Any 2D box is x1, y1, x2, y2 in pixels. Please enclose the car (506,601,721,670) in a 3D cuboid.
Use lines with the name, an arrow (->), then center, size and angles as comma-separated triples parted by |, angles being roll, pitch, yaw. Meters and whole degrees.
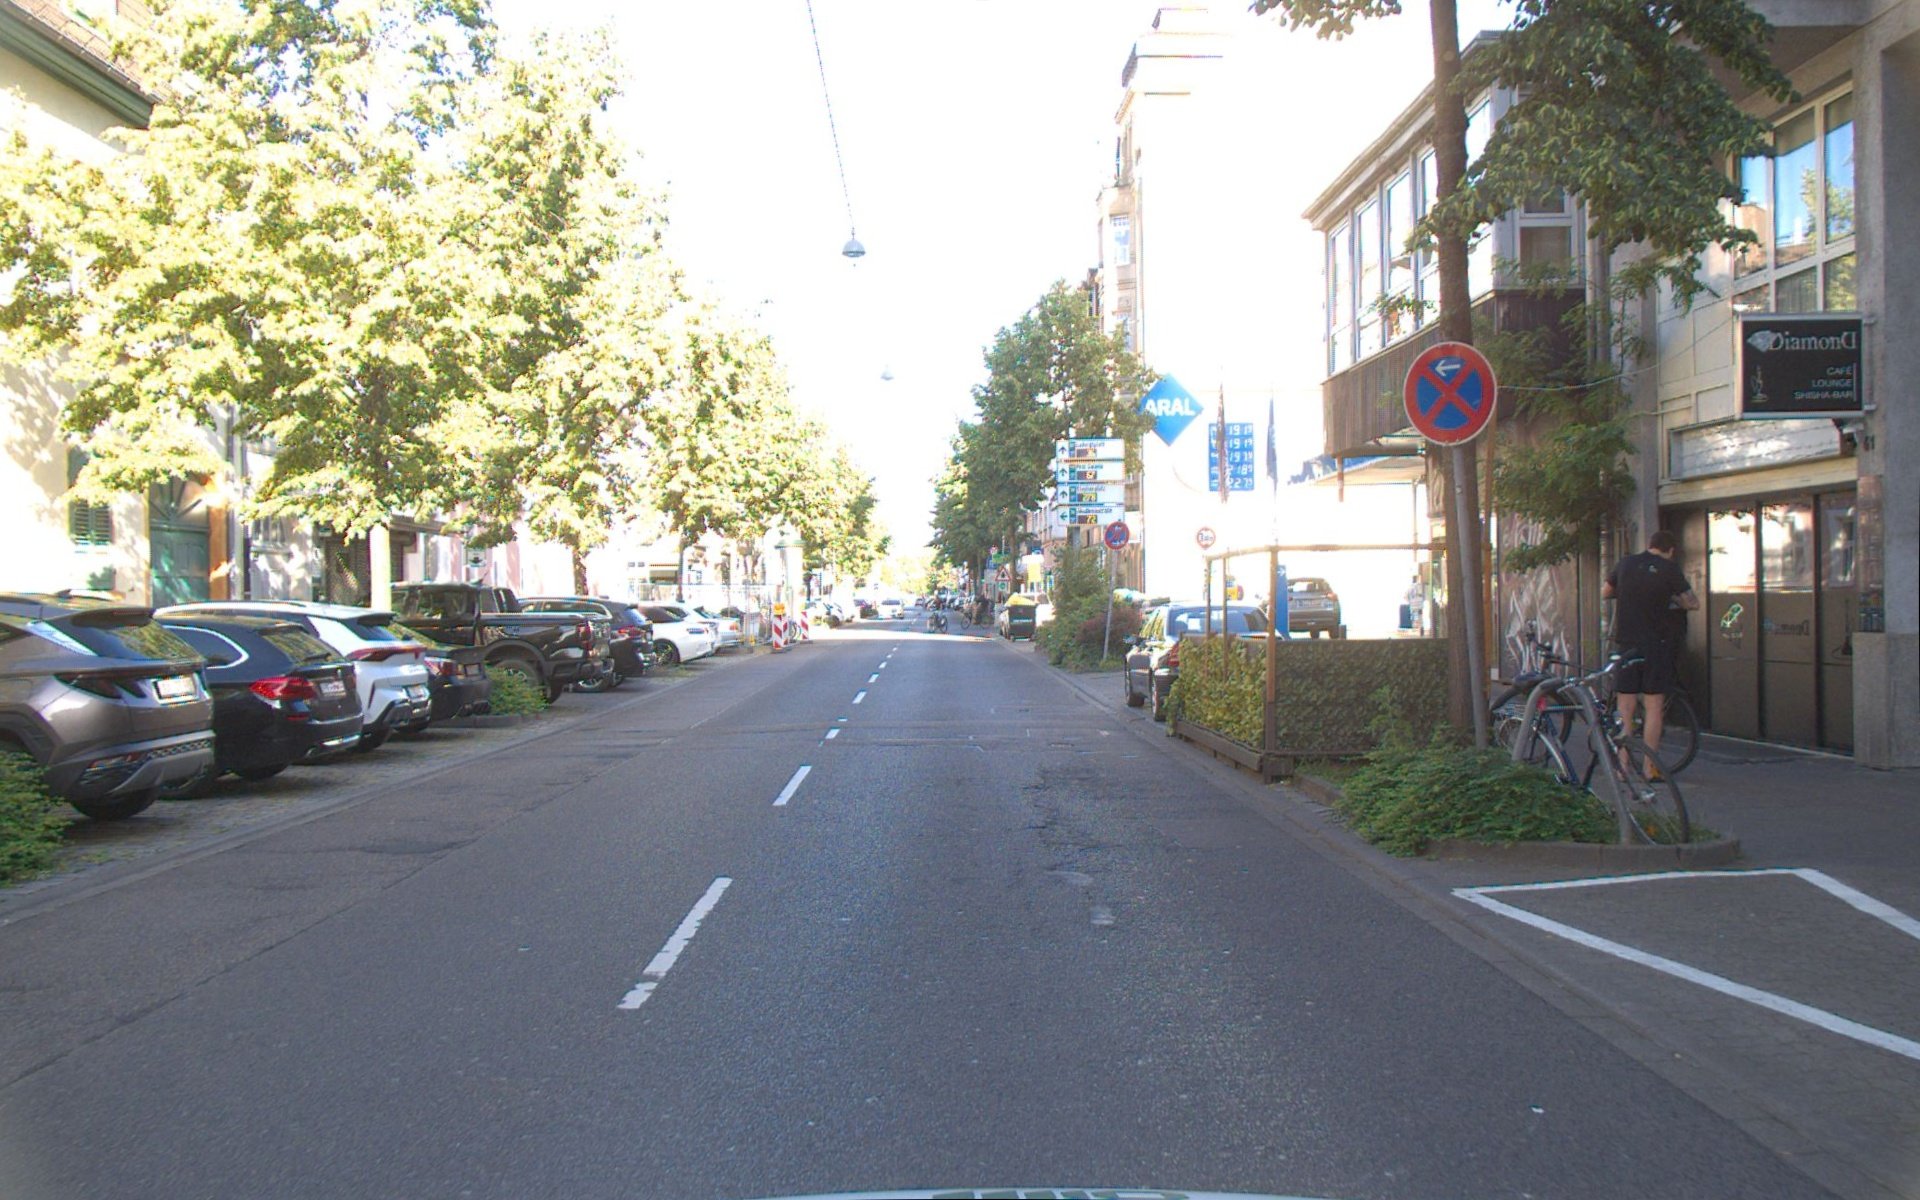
car -> -7.841, 0.787, 37.794 | 4.588, 1.491, 1.806 | 0, 0, -4

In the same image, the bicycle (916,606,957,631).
bicycle -> -1.048, 0.834, 74.297 | 0.755, 1.077, 1.945 | -1, 0, 41

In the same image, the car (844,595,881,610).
car -> -10.358, 0.278, 175.924 | 3.907, 1.526, 1.999 | -1, 0, -2

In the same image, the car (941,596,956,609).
car -> -1.503, 0.320, 214.209 | 1.953, 1.534, 3.998 | 0, -1, -2

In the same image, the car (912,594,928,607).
car -> -4.702, 0.077, 194.375 | 1.786, 1.415, 4.299 | -3, 0, -2

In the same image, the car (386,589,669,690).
car -> -7.704, 0.687, 29.745 | 4.584, 1.723, 1.808 | 0, 0, 0

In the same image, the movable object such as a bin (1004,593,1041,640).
movable object such as a bin -> 2.181, 0.561, 57.518 | 1.118, 1.589, 1.460 | -2, 0, 7

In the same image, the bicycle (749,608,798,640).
bicycle -> -7.071, 0.913, 62.736 | 1.820, 1.191, 0.599 | 0, 0, -9

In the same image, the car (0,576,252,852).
car -> -7.569, 0.735, 11.394 | 4.584, 1.742, 1.808 | 0, 0, 0

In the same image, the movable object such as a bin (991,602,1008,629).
movable object such as a bin -> 1.818, 0.705, 75.465 | 0.691, 1.244, 0.680 | -1, 0, -3

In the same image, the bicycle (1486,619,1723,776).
bicycle -> 5.186, 0.750, 13.377 | 0.676, 1.169, 1.658 | -1, 0, -43

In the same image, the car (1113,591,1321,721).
car -> 3.229, 0.647, 21.740 | 1.862, 1.436, 4.645 | -3, 0, -1

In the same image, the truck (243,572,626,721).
truck -> -7.654, 0.649, 24.468 | 4.982, 1.972, 1.999 | -2, 0, -2

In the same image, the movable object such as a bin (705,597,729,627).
movable object such as a bin -> -12.786, 0.615, 87.006 | 1.117, 1.511, 1.235 | -1, 0, -3

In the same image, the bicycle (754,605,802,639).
bicycle -> -7.084, 0.852, 64.423 | 1.820, 1.274, 0.599 | 0, 0, -9

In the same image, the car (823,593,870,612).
car -> -9.682, 0.231, 141.746 | 3.907, 1.526, 1.999 | -1, 0, -2

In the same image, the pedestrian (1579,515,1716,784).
pedestrian -> 5.246, 0.365, 12.627 | 0.906, 1.969, 0.761 | -1, 0, 24

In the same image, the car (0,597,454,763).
car -> -7.791, 0.783, 17.038 | 4.584, 1.599, 1.808 | 0, 0, 0

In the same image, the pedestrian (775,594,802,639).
pedestrian -> -6.661, 0.631, 64.095 | 0.785, 1.737, 0.758 | 0, 0, -34

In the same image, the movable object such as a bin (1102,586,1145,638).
movable object such as a bin -> 5.429, 0.393, 54.965 | 1.181, 1.656, 1.497 | -2, 0, -3

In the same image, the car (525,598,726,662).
car -> -8.102, 0.715, 40.388 | 4.588, 1.491, 1.806 | 0, 0, -4

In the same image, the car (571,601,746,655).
car -> -8.283, 0.755, 45.752 | 4.588, 1.437, 1.806 | 0, 0, -4

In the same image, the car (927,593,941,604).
car -> -3.473, -0.182, 220.868 | 1.756, 1.436, 3.999 | -1, 0, -1

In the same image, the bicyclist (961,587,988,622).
bicyclist -> 0.734, 0.229, 83.645 | 1.136, 1.722, 0.717 | -1, 0, -19

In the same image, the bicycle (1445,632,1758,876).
bicycle -> 3.614, 0.813, 9.551 | 0.597, 1.139, 2.051 | -8, 1, -10

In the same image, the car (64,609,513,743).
car -> -7.851, 0.865, 19.638 | 4.584, 1.488, 1.808 | 0, 0, 0

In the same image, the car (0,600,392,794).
car -> -7.498, 0.790, 14.211 | 4.584, 1.546, 1.808 | 0, 0, 0

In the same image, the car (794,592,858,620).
car -> -8.763, 0.392, 108.226 | 3.903, 1.724, 2.001 | -1, 0, 3

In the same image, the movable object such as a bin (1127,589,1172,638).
movable object such as a bin -> 6.144, 0.431, 53.670 | 1.245, 1.557, 1.176 | -2, 0, -3

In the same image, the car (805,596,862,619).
car -> -8.966, 0.497, 117.039 | 3.907, 1.526, 1.999 | -1, 0, -2

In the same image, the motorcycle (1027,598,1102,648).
motorcycle -> 2.969, 0.655, 47.199 | 1.943, 1.353, 0.908 | -1, 0, -14

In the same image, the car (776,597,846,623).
car -> -8.570, 0.560, 95.317 | 3.907, 1.414, 1.999 | -1, 0, -2

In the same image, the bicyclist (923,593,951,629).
bicyclist -> -1.034, 0.505, 74.296 | 0.755, 1.587, 1.035 | -1, 0, 41

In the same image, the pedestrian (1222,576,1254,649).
pedestrian -> 7.268, 0.317, 43.298 | 0.692, 1.882, 0.689 | -2, 0, 3

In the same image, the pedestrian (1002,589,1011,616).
pedestrian -> 2.952, 0.146, 105.010 | 0.535, 1.678, 0.664 | -1, 0, 0

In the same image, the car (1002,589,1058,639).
car -> 2.573, 0.499, 61.844 | 1.785, 1.708, 4.600 | -3, 0, -1

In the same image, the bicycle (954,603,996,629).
bicycle -> 0.739, 0.809, 83.641 | 1.998, 1.241, 0.717 | -1, 0, -19

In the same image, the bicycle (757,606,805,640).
bicycle -> -6.858, 0.877, 63.414 | 1.820, 1.274, 0.599 | 0, 0, -9

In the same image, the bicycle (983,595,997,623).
bicycle -> 1.688, 0.497, 93.673 | 0.549, 1.465, 1.628 | -7, 0, -1

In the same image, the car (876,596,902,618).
car -> -5.051, 0.512, 118.654 | 1.766, 1.460, 4.407 | -3, 0, -2

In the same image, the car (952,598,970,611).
car -> 0.122, 0.525, 194.683 | 1.953, 1.534, 3.998 | 0, -1, -2

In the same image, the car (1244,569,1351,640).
car -> 8.677, 0.103, 42.862 | 1.862, 1.677, 4.293 | -2, 0, 0

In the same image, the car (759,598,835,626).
car -> -8.790, 0.641, 89.524 | 3.907, 1.414, 1.999 | -1, 0, -2
